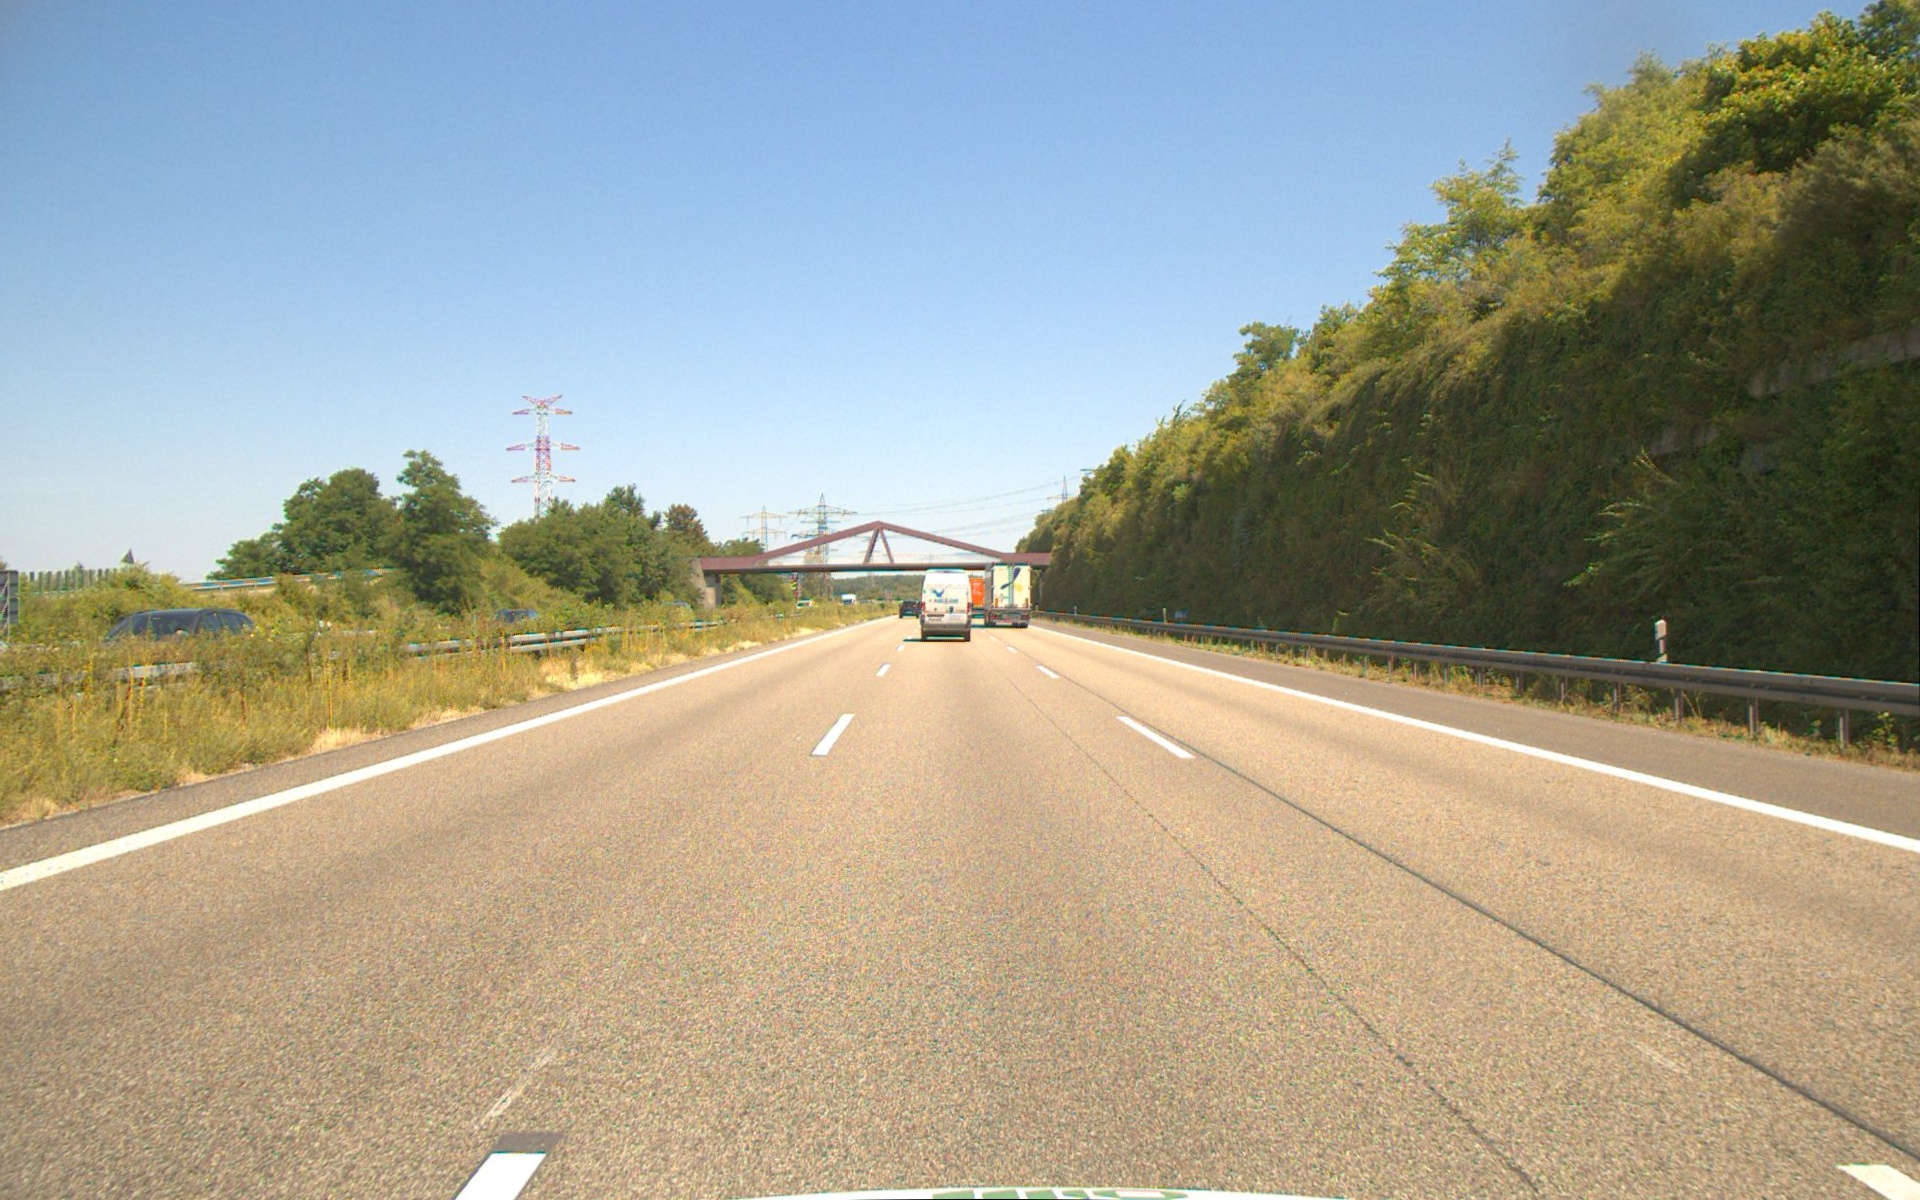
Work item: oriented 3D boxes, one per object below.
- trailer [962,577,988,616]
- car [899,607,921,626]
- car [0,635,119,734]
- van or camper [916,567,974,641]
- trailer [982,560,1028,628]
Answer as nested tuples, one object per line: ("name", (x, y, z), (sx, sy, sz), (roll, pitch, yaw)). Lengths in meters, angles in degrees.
("trailer", (1.520, -0.367, 172.934), (2.583, 3.965, 7.067), (1, 0, 0))
("car", (-4.941, 1.624, 162.959), (1.941, 1.849, 3.813), (1, 0, 1))
("car", (-16.332, 1.430, 28.994), (1.417, 1.541, 3.402), (1, 0, 0))
("van or camper", (-0.626, 0.160, 66.607), (2.185, 2.831, 5.421), (1, 0, -1))
("trailer", (2.868, -0.362, 108.578), (2.583, 4.131, 12.364), (1, 0, 0))
